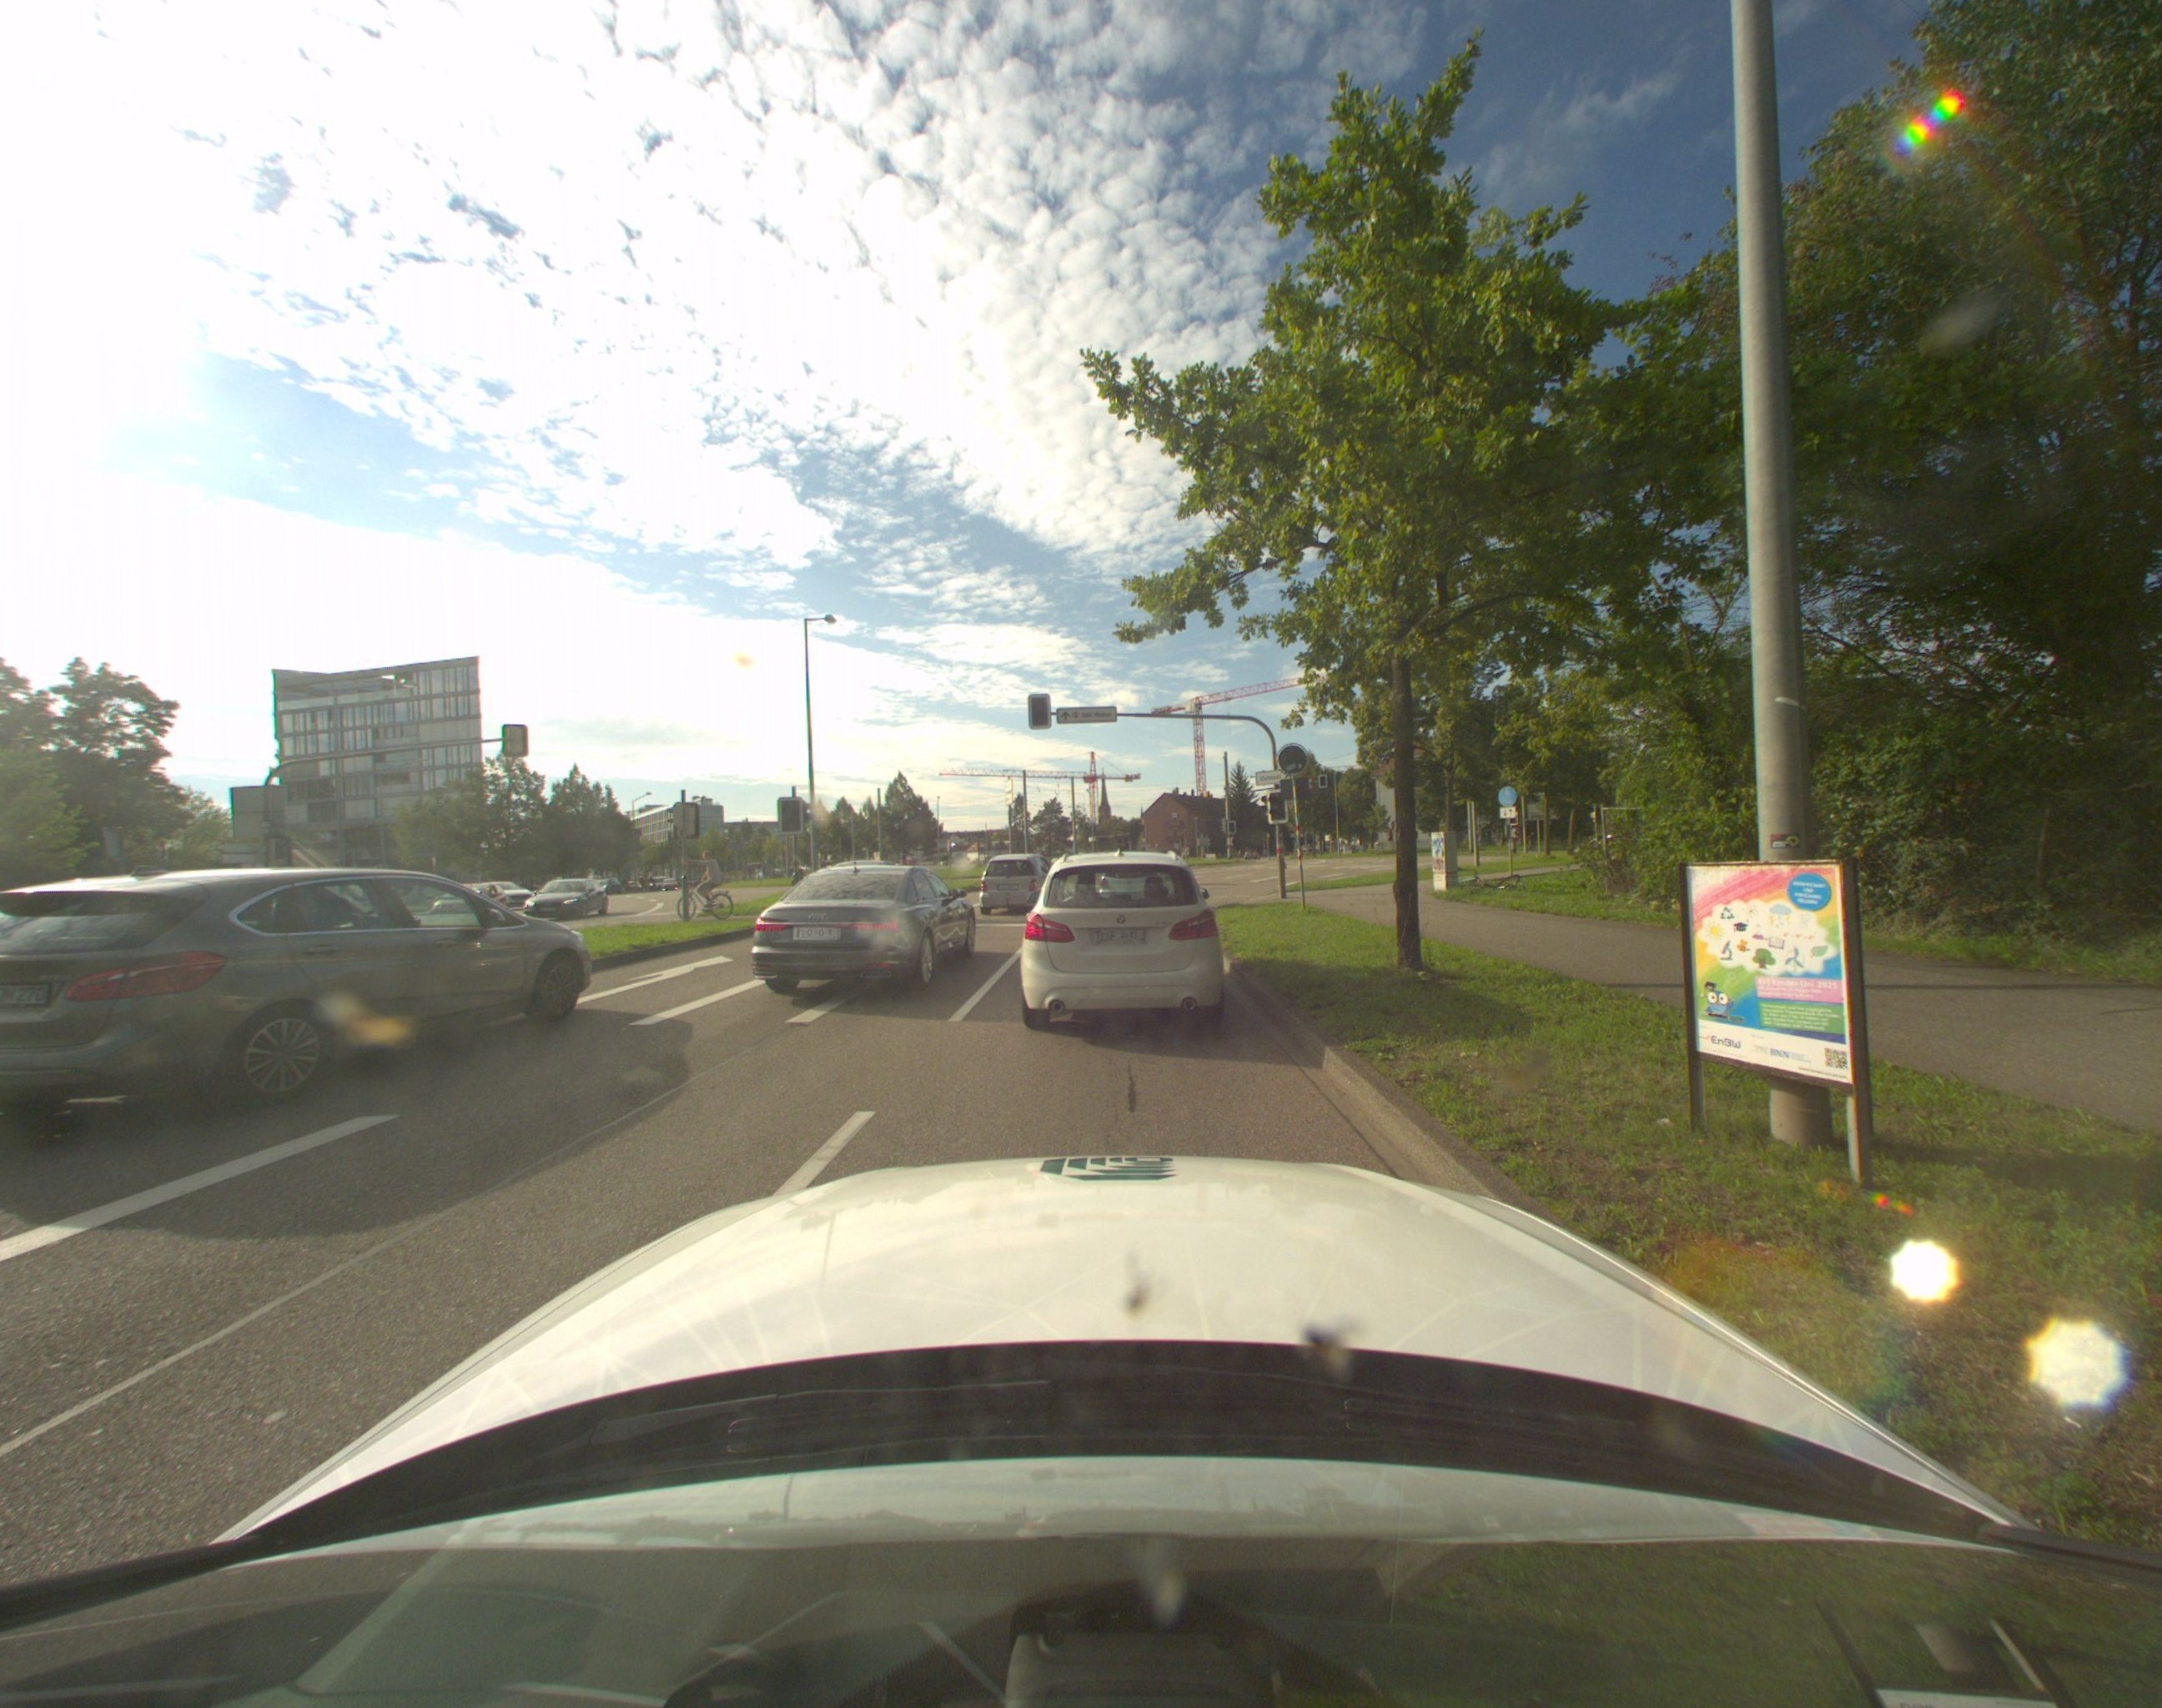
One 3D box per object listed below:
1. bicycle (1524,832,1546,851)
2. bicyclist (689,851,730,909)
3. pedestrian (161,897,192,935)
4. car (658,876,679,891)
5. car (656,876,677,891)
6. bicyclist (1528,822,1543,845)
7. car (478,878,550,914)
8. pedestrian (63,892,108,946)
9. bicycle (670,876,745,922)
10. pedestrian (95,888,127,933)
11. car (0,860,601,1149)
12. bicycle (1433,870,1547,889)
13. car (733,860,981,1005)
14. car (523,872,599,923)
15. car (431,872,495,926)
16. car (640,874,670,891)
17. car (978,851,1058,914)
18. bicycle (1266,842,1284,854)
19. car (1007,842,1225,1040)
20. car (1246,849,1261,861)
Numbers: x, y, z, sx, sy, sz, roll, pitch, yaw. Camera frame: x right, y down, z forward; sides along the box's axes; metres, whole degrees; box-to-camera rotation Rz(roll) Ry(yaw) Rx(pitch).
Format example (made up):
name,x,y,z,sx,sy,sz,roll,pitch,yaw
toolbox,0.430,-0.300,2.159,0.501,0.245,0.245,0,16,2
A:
name,x,y,z,sx,sy,sz,roll,pitch,yaw
bicycle,40.020,-1.103,71.826,1.036,1.662,2.504,0,0,12
bicyclist,-10.145,0.705,22.275,0.850,1.526,0.737,-3,-1,-15
pedestrian,-39.749,2.722,35.776,0.651,1.569,0.617,-3,-1,8
car,-45.149,3.251,89.108,1.598,1.415,3.644,-2,-2,-20
car,-50.227,3.616,98.720,1.720,1.691,3.957,-2,0,-34
bicyclist,39.957,-1.797,71.640,0.834,2.013,1.146,-1,0,11
car,-28.318,2.088,40.652,3.455,1.592,1.604,-4,0,32
pedestrian,-29.941,1.941,24.512,0.594,1.581,0.575,3,-2,-26
bicycle,-10.192,1.217,22.251,1.728,1.163,0.652,-2,-1,-15
pedestrian,-44.725,2.585,37.560,0.923,2.013,0.886,-3,-1,40
car,-5.970,0.859,6.520,1.722,1.558,4.021,-1,0,2
bicycle,10.457,0.640,20.980,1.407,0.385,2.568,-3,0,-9
car,-2.646,0.845,10.862,1.883,1.483,4.614,-1,-1,2
car,-18.560,1.487,29.215,1.715,1.573,3.966,-4,1,-25
car,-22.718,1.601,29.924,1.720,1.769,3.954,-2,0,-38
car,-42.258,2.816,80.930,1.790,1.575,3.978,-3,0,-16
car,-1.649,0.730,22.517,1.722,1.558,4.060,-1,0,2
bicycle,25.352,-0.759,106.466,0.898,1.530,2.268,0,-2,-28
car,0.339,0.705,8.578,1.723,1.558,4.059,-1,0,2
car,25.013,0.099,118.166,1.556,1.573,3.217,0,2,24
